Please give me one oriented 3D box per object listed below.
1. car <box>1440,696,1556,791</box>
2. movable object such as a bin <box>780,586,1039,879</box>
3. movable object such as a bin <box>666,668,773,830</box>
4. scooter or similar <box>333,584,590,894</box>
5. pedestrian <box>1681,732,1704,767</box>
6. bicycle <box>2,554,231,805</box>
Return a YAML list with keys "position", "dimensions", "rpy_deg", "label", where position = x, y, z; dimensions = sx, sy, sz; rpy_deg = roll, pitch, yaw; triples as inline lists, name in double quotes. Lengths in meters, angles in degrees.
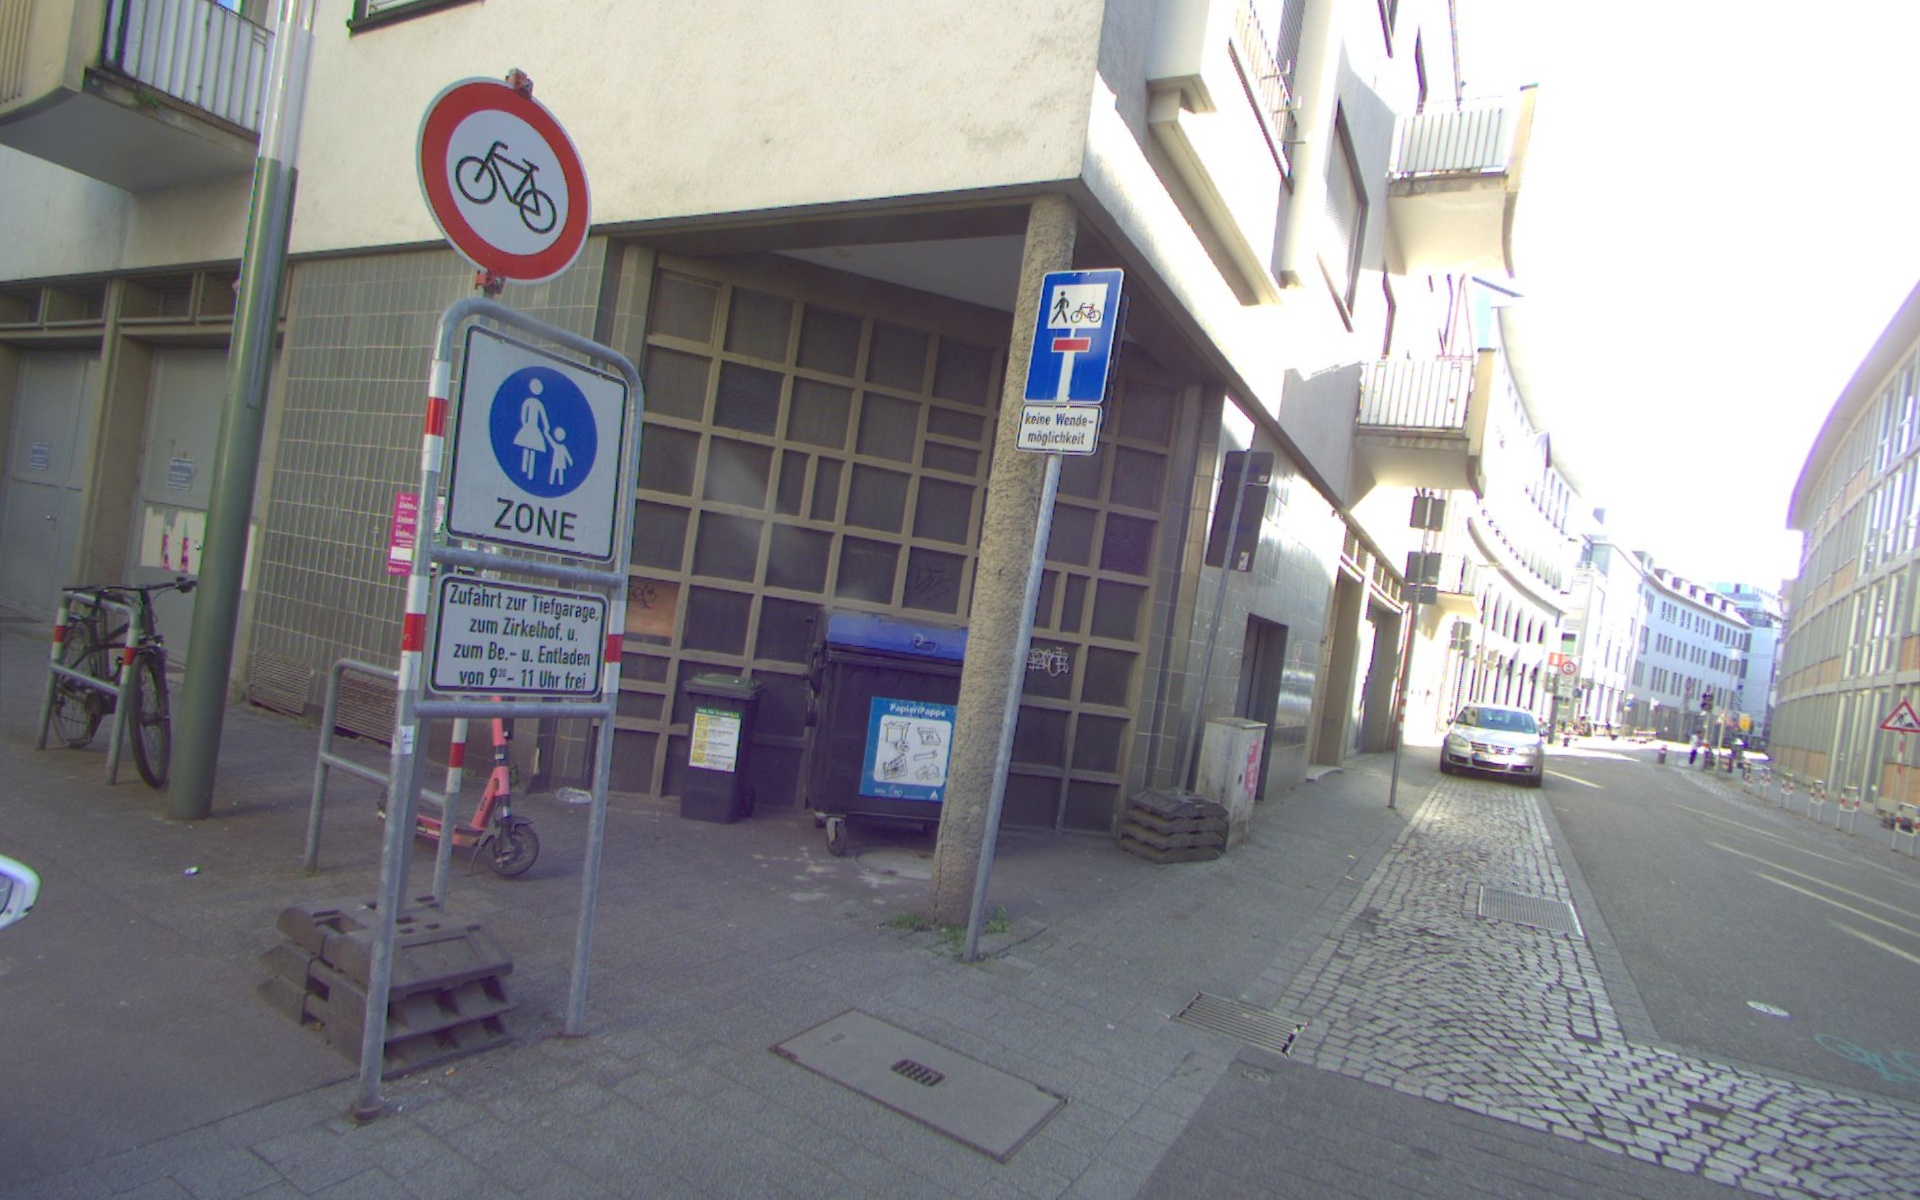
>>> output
- position: [10.764, 2.777, 20.116]
  dimensions: [1.741, 1.487, 3.809]
  rpy_deg: [6, -2, 29]
  label: "car"
- position: [-0.383, 0.814, 6.591]
  dimensions: [1.272, 1.609, 1.151]
  rpy_deg: [8, 1, -16]
  label: "movable object such as a bin"
- position: [-1.577, 0.960, 6.564]
  dimensions: [0.534, 0.935, 0.511]
  rpy_deg: [8, 0, -18]
  label: "movable object such as a bin"
- position: [-2.447, 0.630, 4.904]
  dimensions: [1.217, 1.267, 0.308]
  rpy_deg: [7, 0, 26]
  label: "scooter or similar"
- position: [32.886, 6.719, 45.179]
  dimensions: [0.648, 1.458, 0.595]
  rpy_deg: [8, 0, 31]
  label: "pedestrian"
- position: [-4.764, 0.394, 5.645]
  dimensions: [1.683, 1.153, 0.447]
  rpy_deg: [6, -1, 35]
  label: "bicycle"
